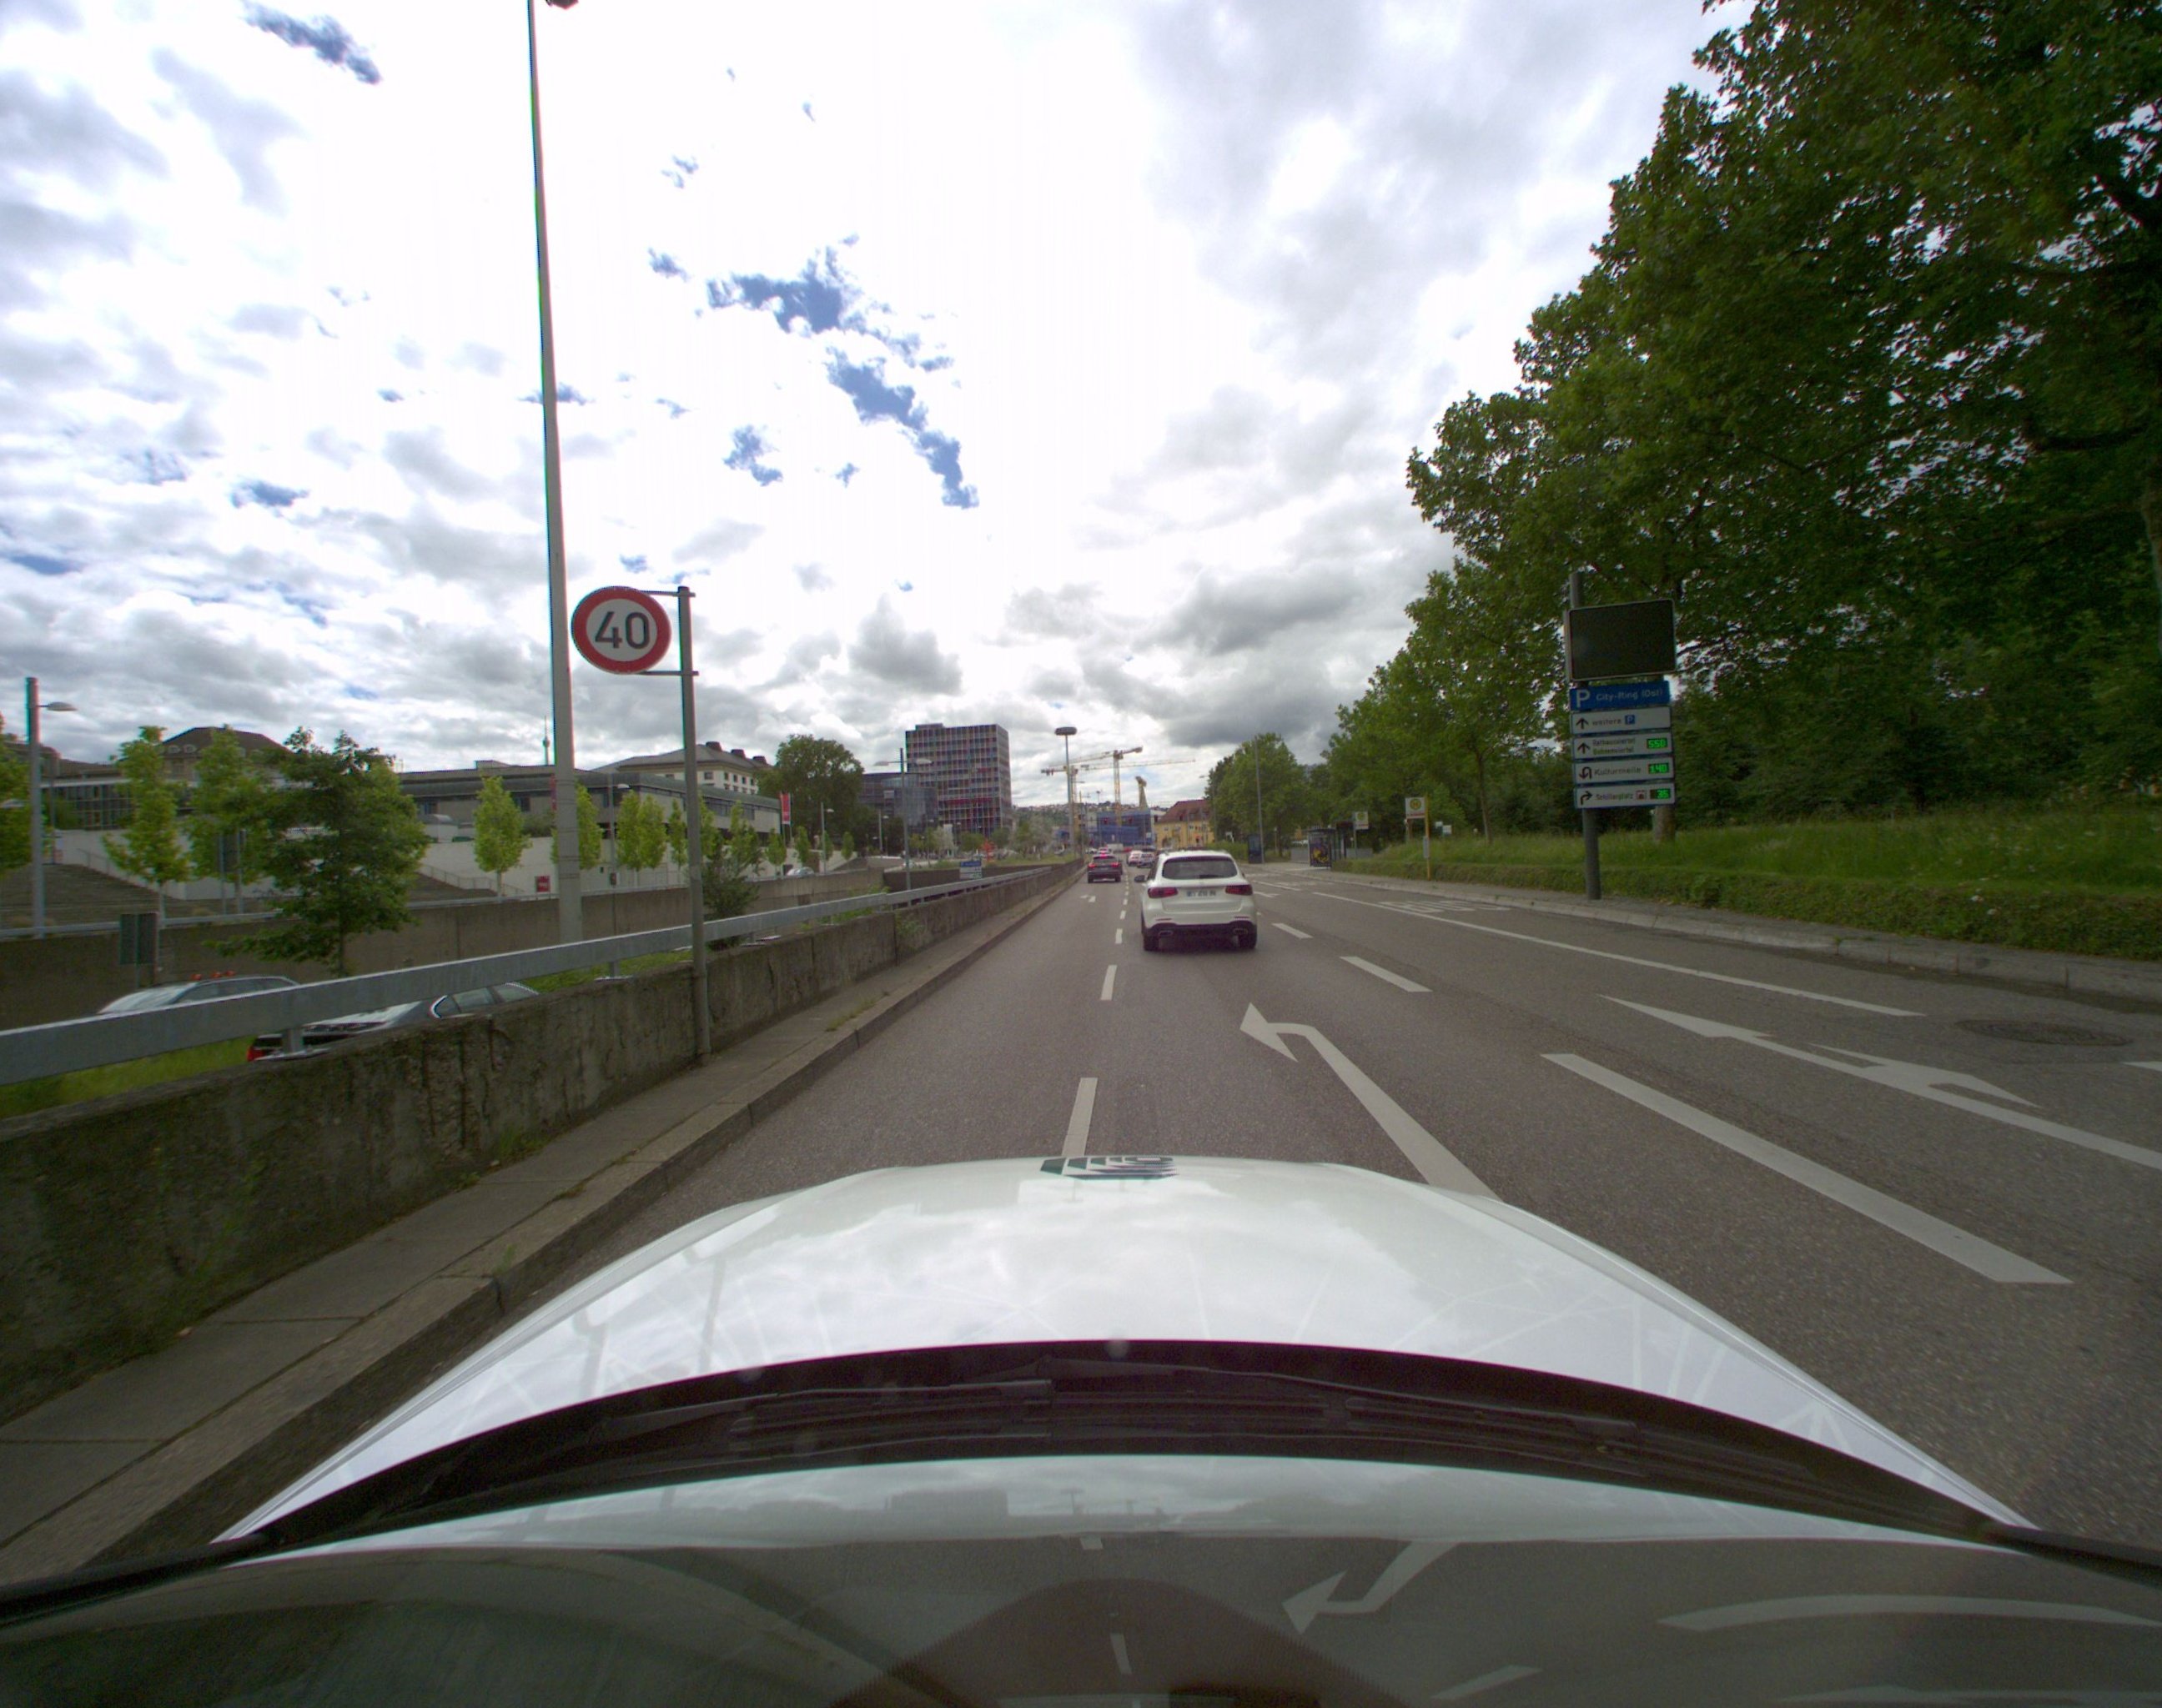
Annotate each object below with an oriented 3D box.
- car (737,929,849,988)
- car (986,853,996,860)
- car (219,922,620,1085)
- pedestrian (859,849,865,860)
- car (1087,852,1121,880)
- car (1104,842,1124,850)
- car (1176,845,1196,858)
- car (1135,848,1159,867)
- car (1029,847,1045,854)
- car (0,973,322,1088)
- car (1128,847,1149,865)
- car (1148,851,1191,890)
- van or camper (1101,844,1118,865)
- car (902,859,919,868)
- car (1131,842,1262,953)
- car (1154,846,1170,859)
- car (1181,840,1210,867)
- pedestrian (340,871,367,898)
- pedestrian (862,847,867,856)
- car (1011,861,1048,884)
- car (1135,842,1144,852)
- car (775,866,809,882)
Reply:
[{"bbox_3d":[-9.695,3.479,27.863,1.804,1.460,4.867,-1,-1,3],"label":"car"},{"bbox_3d":[-21.779,0.528,197.703,1.860,1.618,3.482,0,-1,2],"label":"car"},{"bbox_3d":[-9.326,2.003,12.202,1.987,1.482,4.809,-2,0,0],"label":"car"},{"bbox_3d":[-36.487,0.123,135.658,0.686,1.729,0.645,-1,-1,32],"label":"pedestrian"},{"bbox_3d":[1.379,0.703,49.082,1.915,1.602,4.002,-2,0,2],"label":"car"},{"bbox_3d":[9.019,-2.096,224.025,5.220,2.060,1.885,-1,-1,37],"label":"car"},{"bbox_3d":[13.613,-0.300,105.732,1.988,1.618,3.996,0,-1,-2],"label":"car"},{"bbox_3d":[6.086,0.356,75.361,1.986,1.662,4.001,0,-1,2],"label":"car"},{"bbox_3d":[-11.980,-0.969,220.175,3.994,2.014,1.990,0,-1,-15],"label":"car"},{"bbox_3d":[-19.423,3.639,17.550,1.873,1.538,4.576,0,-1,-2],"label":"car"},{"bbox_3d":[5.882,0.196,84.013,1.986,1.781,4.001,0,-1,2],"label":"car"},{"bbox_3d":[3.825,0.700,35.739,1.665,1.628,4.003,0,-1,3],"label":"car"},{"bbox_3d":[3.444,0.050,98.305,1.915,2.320,4.001,-2,-2,2],"label":"van or camper"},{"bbox_3d":[-26.976,1.502,128.665,1.803,1.427,3.708,0,-1,1],"label":"car"},{"bbox_3d":[1.912,0.705,14.634,1.933,1.684,4.002,-1,-1,3],"label":"car"},{"bbox_3d":[10.452,-0.206,105.742,1.713,1.584,4.000,0,0,1],"label":"car"},{"bbox_3d":[8.949,-0.020,64.064,1.781,2.013,4.002,-2,0,2],"label":"car"},{"bbox_3d":[-44.972,1.869,50.344,0.639,1.640,1.003,4,-1,2],"label":"pedestrian"},{"bbox_3d":[-38.785,-0.435,145.911,0.686,1.729,0.645,-1,-1,26],"label":"pedestrian"},{"bbox_3d":[-3.075,1.078,49.160,1.711,1.292,4.004,0,0,4],"label":"car"},{"bbox_3d":[12.336,-1.465,170.928,1.793,2.014,4.001,0,-1,2],"label":"car"},{"bbox_3d":[-26.040,1.766,73.385,1.828,1.360,3.864,0,-1,-3],"label":"car"}]
